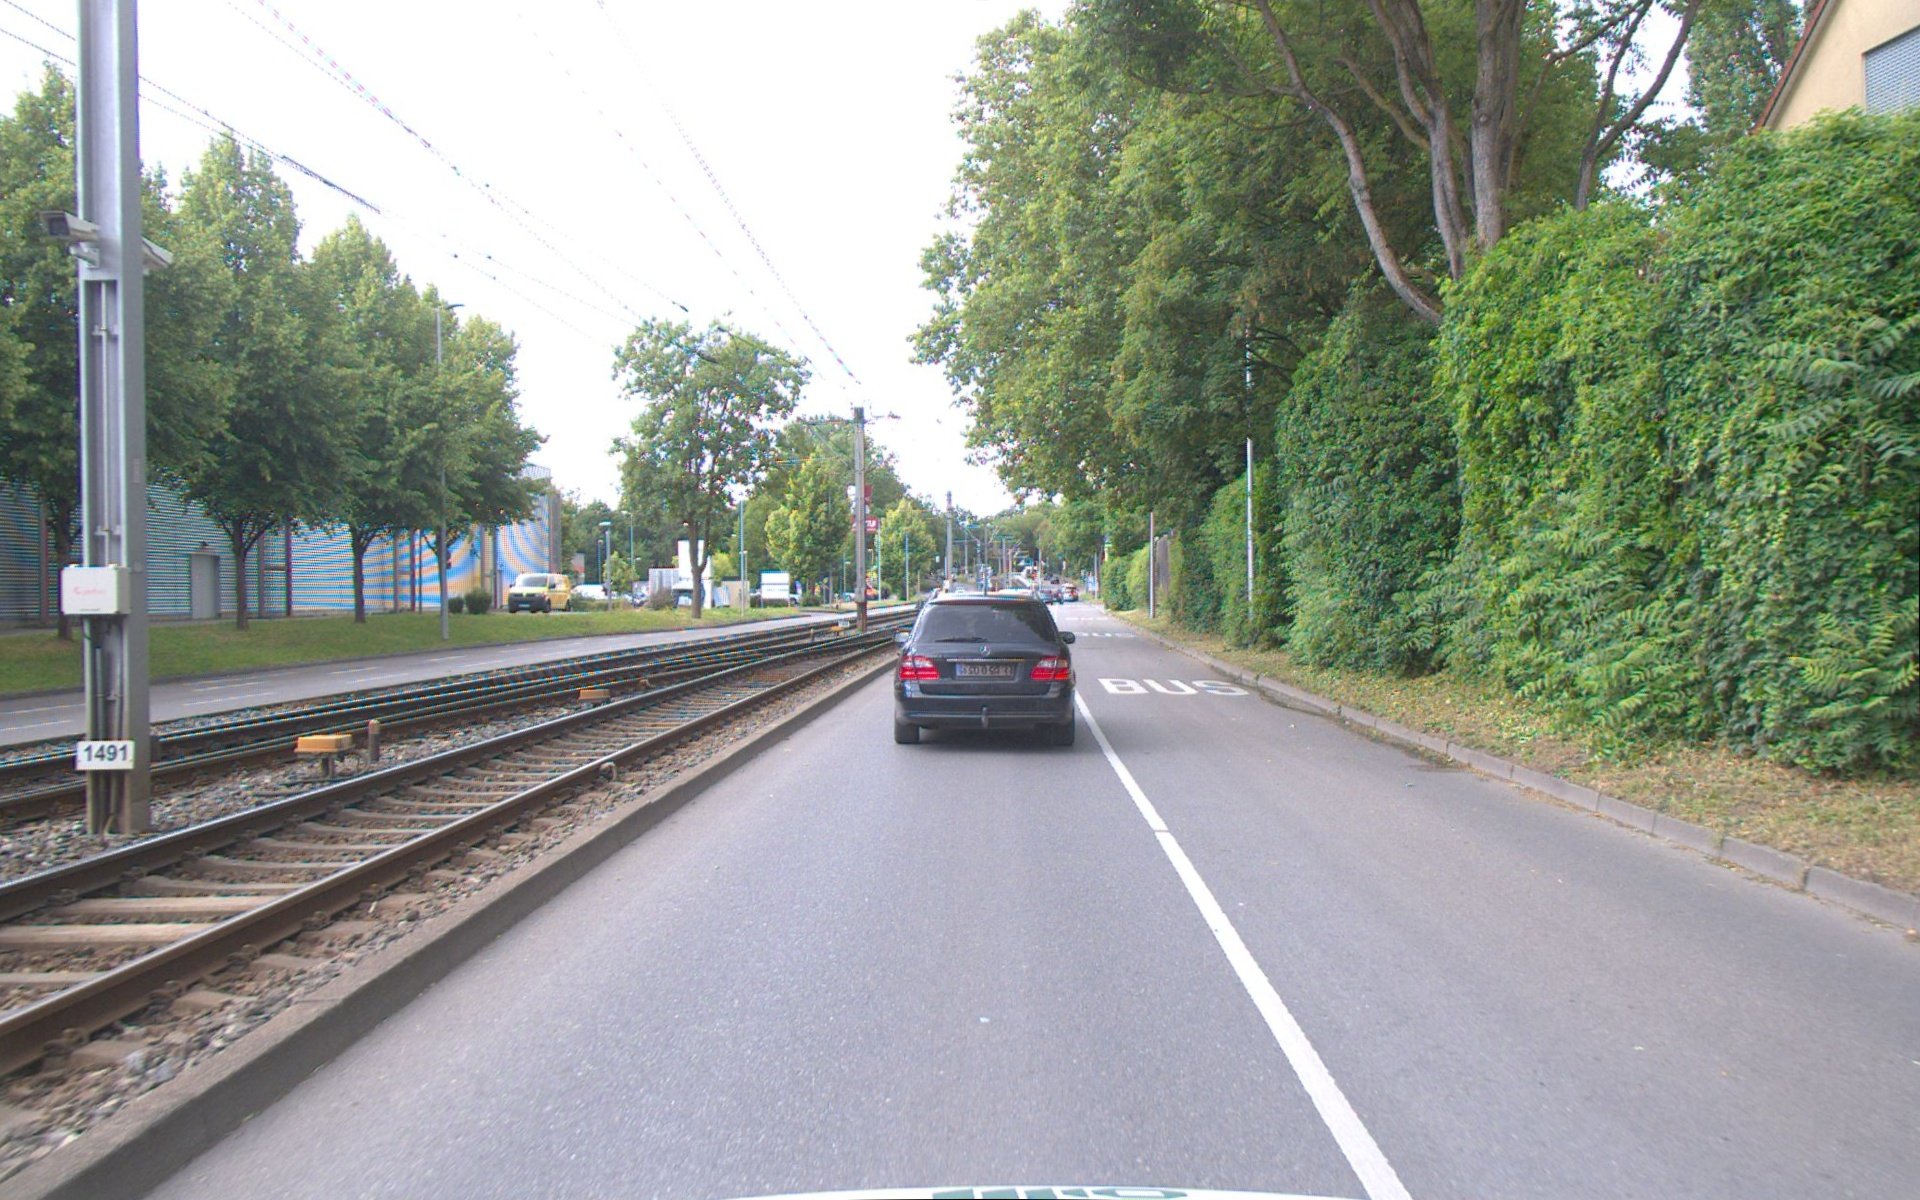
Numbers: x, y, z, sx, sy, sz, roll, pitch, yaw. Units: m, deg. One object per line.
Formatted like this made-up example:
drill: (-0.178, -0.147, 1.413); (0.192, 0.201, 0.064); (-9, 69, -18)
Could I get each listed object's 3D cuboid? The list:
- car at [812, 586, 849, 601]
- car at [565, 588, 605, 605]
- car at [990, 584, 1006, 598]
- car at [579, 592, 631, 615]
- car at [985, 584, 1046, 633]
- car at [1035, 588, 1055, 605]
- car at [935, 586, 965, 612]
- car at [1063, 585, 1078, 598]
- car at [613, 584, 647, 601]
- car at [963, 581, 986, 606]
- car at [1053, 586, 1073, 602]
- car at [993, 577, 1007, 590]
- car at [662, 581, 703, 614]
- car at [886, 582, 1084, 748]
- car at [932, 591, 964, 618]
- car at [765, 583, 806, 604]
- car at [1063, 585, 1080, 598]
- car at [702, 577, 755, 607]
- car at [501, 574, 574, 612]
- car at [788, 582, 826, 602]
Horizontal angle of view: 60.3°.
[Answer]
car: (-14.424, -0.700, 184.721); (3.904, 1.673, 2.001); (0, 0, 2)
car: (-41.423, -0.371, 182.664); (3.907, 1.709, 1.999); (-3, 0, -3)
car: (4.158, -1.003, 181.250); (1.787, 1.556, 4.180); (0, 0, 1)
car: (-28.678, 0.274, 133.608); (3.922, 1.709, 1.992); (-3, 0, -16)
car: (1.801, 0.251, 54.993); (1.788, 1.556, 4.415); (0, 0, -1)
car: (8.008, -0.370, 156.463); (1.787, 1.556, 4.416); (0, 0, 1)
car: (-0.593, -0.076, 103.208); (1.787, 1.556, 3.986); (0, 0, 1)
car: (14.019, -1.086, 210.064); (1.787, 1.556, 4.180); (0, 0, 1)
car: (-42.524, -0.969, 213.071); (3.904, 2.049, 2.001); (-3, 0, 3)
car: (1.248, -0.563, 143.511); (1.853, 2.049, 3.897); (-2, 0, 0)
car: (10.267, -0.585, 165.147); (1.787, 1.556, 4.180); (0, 0, 1)
car: (5.492, -2.255, 226.891); (1.804, 1.673, 3.886); (0, 0, 0)
car: (-18.218, -0.184, 108.792); (1.953, 2.049, 3.999); (-2, 0, -1)
car: (0.235, 0.586, 17.252); (1.795, 1.504, 4.415); (0, 0, 0)
car: (-0.689, 0.242, 98.654); (1.787, 1.556, 3.986); (0, 0, 1)
car: (-15.811, -0.569, 150.042); (3.624, 1.847, 1.791); (0, 0, -8)
car: (13.253, -1.008, 197.306); (1.787, 1.556, 4.180); (0, 0, 1)
car: (-18.090, -0.613, 129.503); (3.910, 2.160, 1.998); (-3, 0, -6)
car: (-20.235, -0.343, 79.470); (1.952, 1.773, 4.989); (0, 0, 3)
car: (-14.924, -0.781, 161.516); (3.624, 1.847, 1.791); (0, 0, -8)
